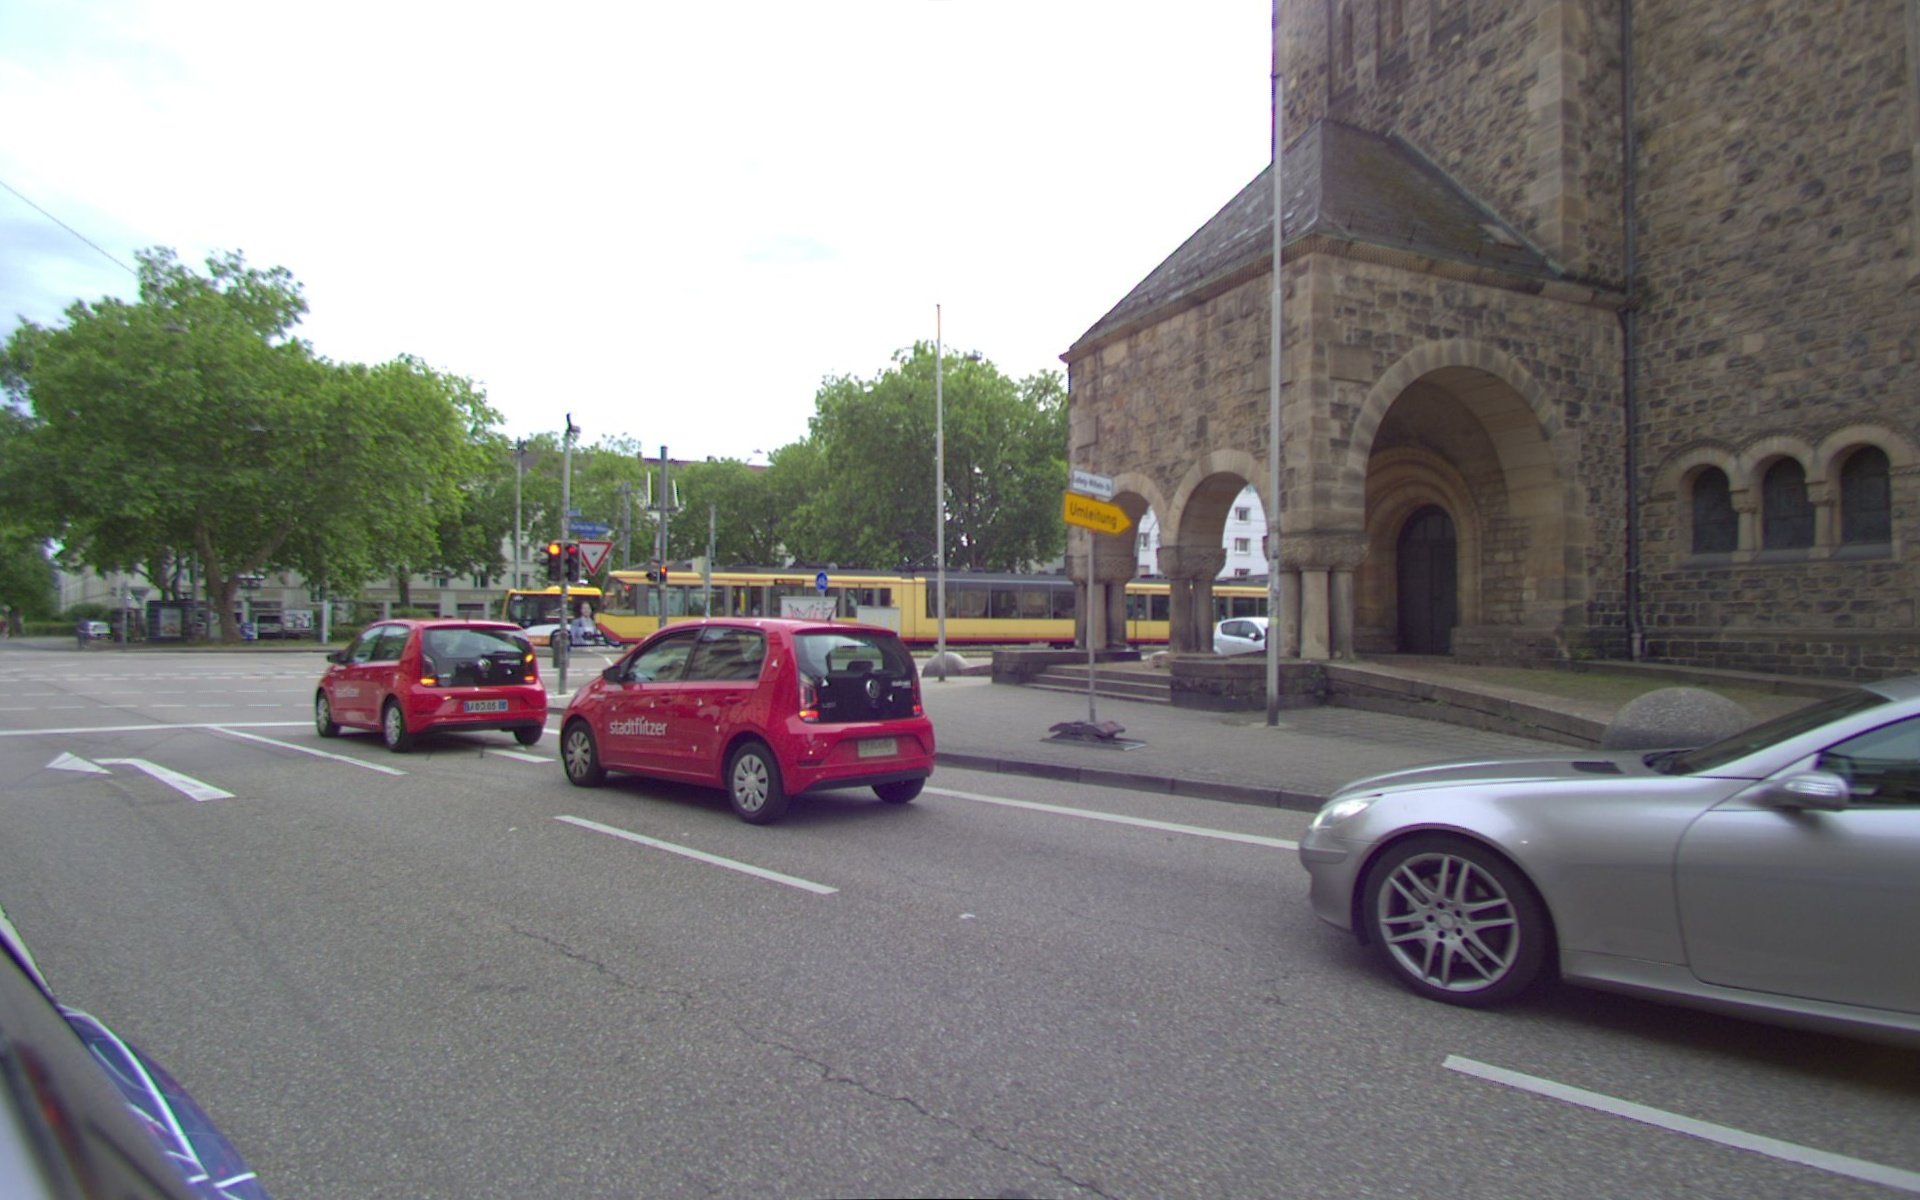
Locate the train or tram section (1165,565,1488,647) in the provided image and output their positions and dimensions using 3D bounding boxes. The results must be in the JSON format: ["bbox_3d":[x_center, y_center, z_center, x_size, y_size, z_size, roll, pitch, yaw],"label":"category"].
[{"bbox_3d":[20.831,0.408,56.578,19.601,4.124,3.640,1,0,-22],"label":"train or tram section"}]

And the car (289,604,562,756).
[{"bbox_3d":[-6.526,0.908,12.192,3.892,1.540,1.631,-2,-5,42],"label":"car"}]

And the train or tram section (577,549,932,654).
[{"bbox_3d":[-8.827,0.131,44.418,14.777,4.124,3.667,1,0,-22],"label":"train or tram section"}]

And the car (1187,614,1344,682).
[{"bbox_3d":[8.226,1.249,27.699,1.634,1.648,4.377,1,0,-24],"label":"car"}]

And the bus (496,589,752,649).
[{"bbox_3d":[-17.165,0.975,52.147,12.164,2.878,3.303,1,0,-23],"label":"bus"}]

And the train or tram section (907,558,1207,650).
[{"bbox_3d":[4.966,0.255,50.057,14.777,4.124,3.593,1,0,-22],"label":"train or tram section"}]

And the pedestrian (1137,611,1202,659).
[{"bbox_3d":[5.362,0.891,25.944,1.467,1.200,0.741,1,0,-24],"label":"pedestrian"}]

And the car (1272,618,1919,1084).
[{"bbox_3d":[3.338,0.751,3.425,4.042,1.296,1.686,-1,-3,43],"label":"car"}]

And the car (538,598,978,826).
[{"bbox_3d":[-1.798,0.773,8.367,3.716,1.468,1.585,0,-3,41],"label":"car"}]

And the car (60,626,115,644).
[{"bbox_3d":[-76.315,3.033,88.572,3.965,1.497,1.793,0,-1,17],"label":"car"}]

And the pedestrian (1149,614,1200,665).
[{"bbox_3d":[5.324,0.970,25.166,1.045,1.238,0.740,1,0,-9],"label":"pedestrian"}]

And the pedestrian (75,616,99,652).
[{"bbox_3d":[-46.688,1.805,54.138,0.680,1.900,0.688,1,0,4],"label":"pedestrian"}]

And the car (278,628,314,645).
[{"bbox_3d":[-55.879,3.055,85.172,1.968,1.400,4.840,1,-2,-40],"label":"car"}]
